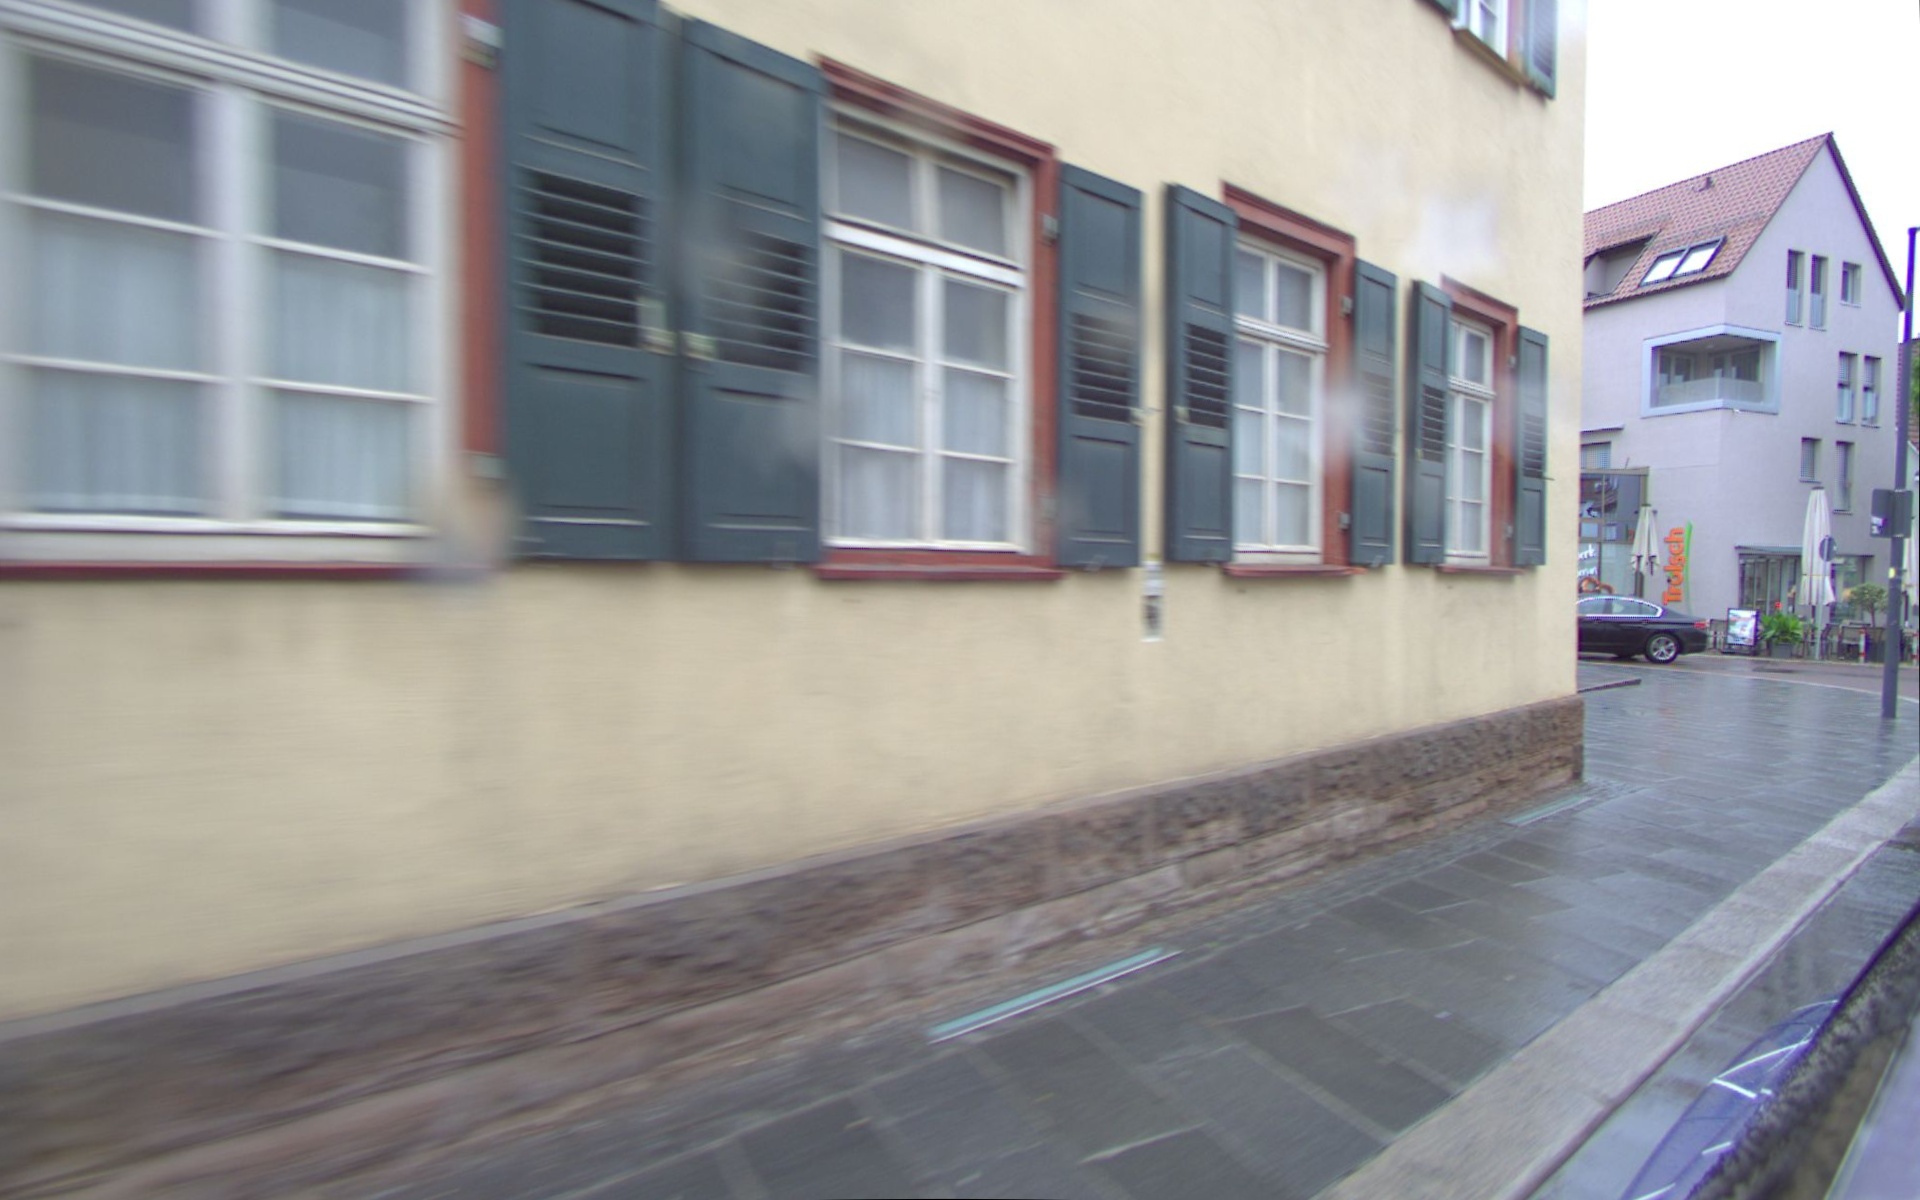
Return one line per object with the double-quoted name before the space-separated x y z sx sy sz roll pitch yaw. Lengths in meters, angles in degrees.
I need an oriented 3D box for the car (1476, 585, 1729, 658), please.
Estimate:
"car" 14.345 0.441 22.842 4.369 1.387 1.877 2 2 7
